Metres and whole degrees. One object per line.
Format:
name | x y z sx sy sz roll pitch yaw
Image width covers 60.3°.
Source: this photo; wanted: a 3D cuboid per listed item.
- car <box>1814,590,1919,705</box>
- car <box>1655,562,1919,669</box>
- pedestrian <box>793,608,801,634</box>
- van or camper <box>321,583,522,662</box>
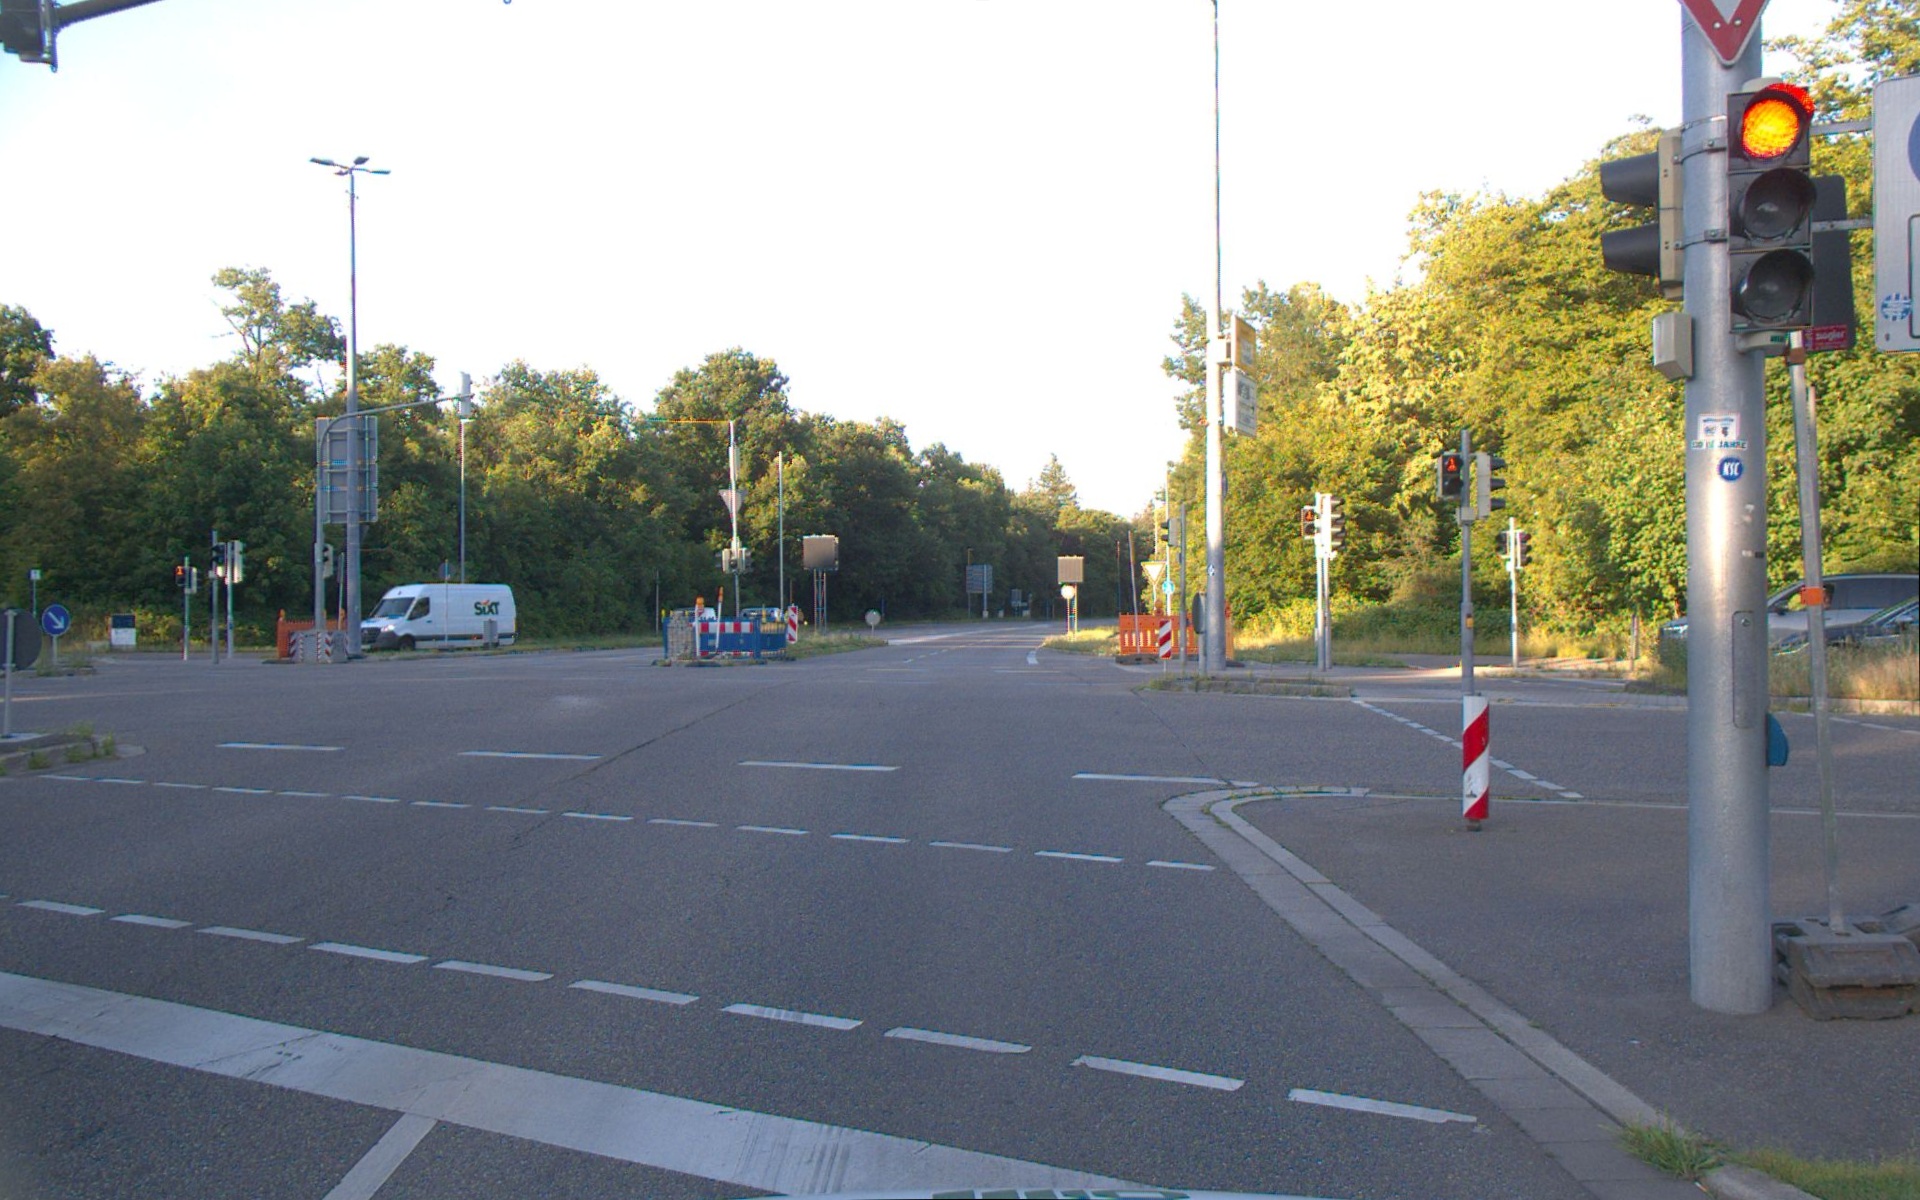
car | 13.765 0.619 22.344 3.783 1.515 1.771 0 0 22
car | 13.749 0.243 26.496 4.716 1.626 2.000 -1 0 21
pedestrian | -12.972 1.657 131.839 0.511 2.049 0.600 1 -1 -1
van or camper | -19.578 0.770 60.563 2.829 2.699 7.114 0 0 27
